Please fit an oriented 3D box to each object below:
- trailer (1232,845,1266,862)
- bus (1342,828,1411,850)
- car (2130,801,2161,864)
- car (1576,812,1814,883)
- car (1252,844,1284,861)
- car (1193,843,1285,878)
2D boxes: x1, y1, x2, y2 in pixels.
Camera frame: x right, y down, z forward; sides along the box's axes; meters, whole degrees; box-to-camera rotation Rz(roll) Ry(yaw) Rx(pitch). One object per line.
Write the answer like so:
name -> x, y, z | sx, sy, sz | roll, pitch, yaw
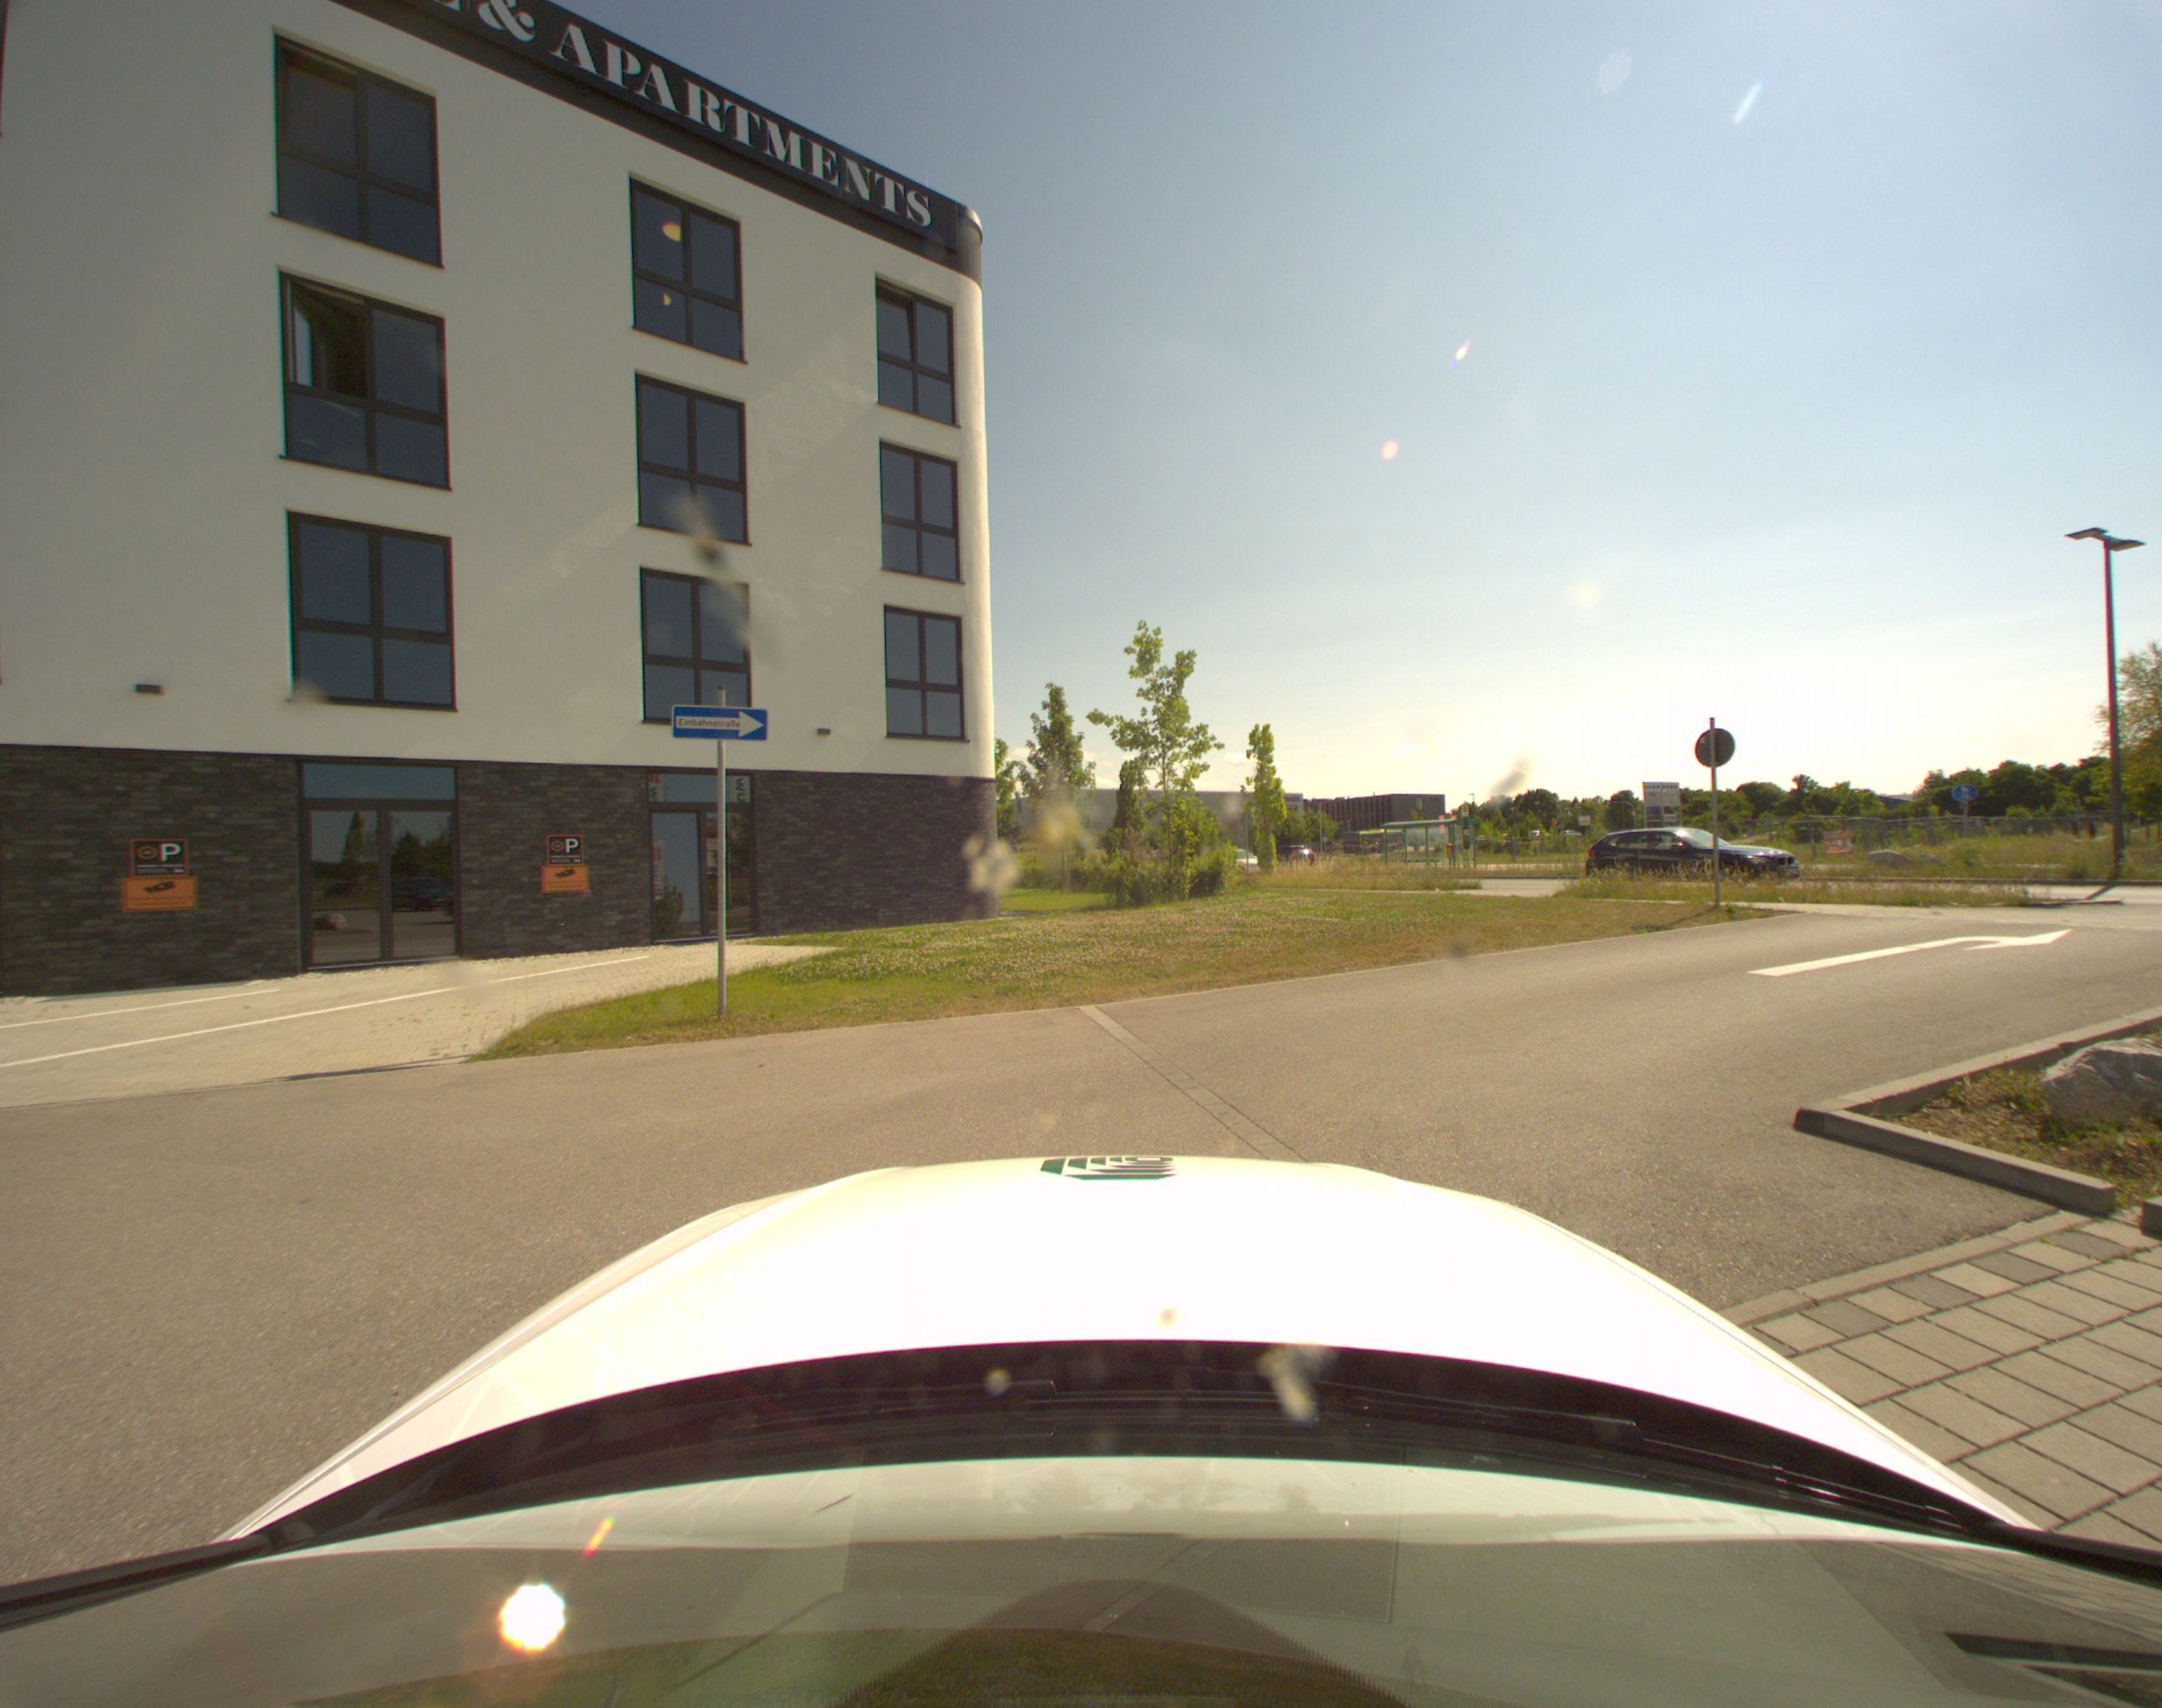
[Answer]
trailer -> 18.453, -0.067, 89.240 | 1.805, 1.859, 4.025 | -1, 0, 42
bus -> 39.386, -2.047, 108.358 | 11.621, 2.735, 2.552 | -2, 1, -37
car -> 28.027, -0.548, 19.161 | 4.170, 1.517, 2.000 | -1, 0, 0
car -> 15.037, -0.154, 20.238 | 1.918, 1.551, 4.350 | -1, 0, -27
car -> 21.204, -0.132, 92.158 | 1.805, 1.859, 4.025 | -1, 0, 42
car -> 7.453, 0.272, 38.876 | 1.747, 1.551, 4.526 | -1, 0, -30
